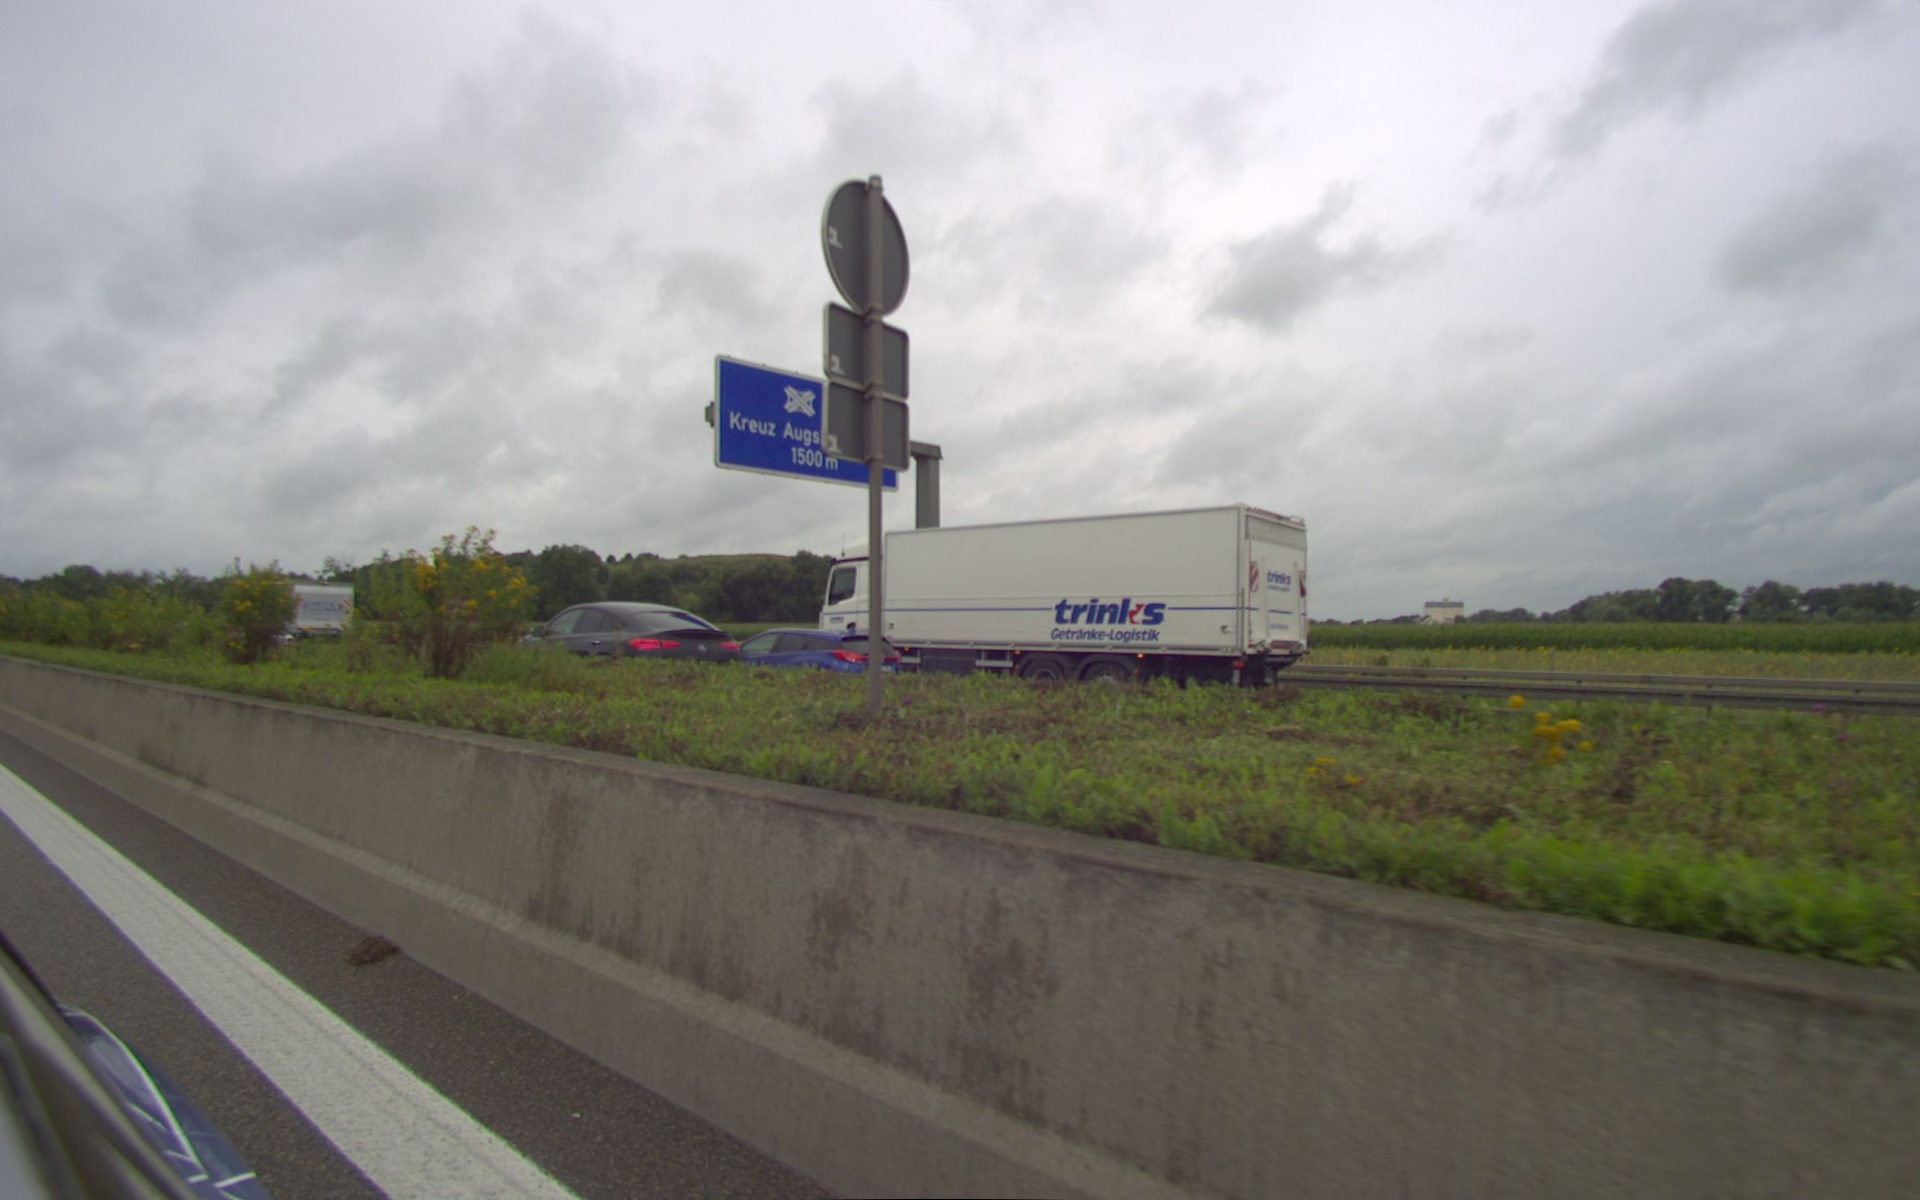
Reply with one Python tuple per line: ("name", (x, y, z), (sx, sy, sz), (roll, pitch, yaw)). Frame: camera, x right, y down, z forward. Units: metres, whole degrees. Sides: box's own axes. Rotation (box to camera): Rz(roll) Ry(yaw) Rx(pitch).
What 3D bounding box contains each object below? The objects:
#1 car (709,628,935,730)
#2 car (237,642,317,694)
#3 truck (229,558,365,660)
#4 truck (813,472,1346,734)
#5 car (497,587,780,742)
("car", (-2.529, 1.308, 18.072), (3.998, 1.608, 1.847), (-1, -2, 41))
("car", (-27.874, 2.708, 41.251), (4.094, 1.919, 1.735), (-1, -1, 41))
("truck", (-33.280, 0.438, 50.612), (9.669, 4.684, 3.192), (-1, 0, 41))
("truck", (1.733, 0.079, 20.259), (10.810, 3.997, 3.149), (-1, 0, 43))
("car", (-5.096, 0.915, 15.691), (4.833, 2.029, 1.973), (-1, -2, 41))
